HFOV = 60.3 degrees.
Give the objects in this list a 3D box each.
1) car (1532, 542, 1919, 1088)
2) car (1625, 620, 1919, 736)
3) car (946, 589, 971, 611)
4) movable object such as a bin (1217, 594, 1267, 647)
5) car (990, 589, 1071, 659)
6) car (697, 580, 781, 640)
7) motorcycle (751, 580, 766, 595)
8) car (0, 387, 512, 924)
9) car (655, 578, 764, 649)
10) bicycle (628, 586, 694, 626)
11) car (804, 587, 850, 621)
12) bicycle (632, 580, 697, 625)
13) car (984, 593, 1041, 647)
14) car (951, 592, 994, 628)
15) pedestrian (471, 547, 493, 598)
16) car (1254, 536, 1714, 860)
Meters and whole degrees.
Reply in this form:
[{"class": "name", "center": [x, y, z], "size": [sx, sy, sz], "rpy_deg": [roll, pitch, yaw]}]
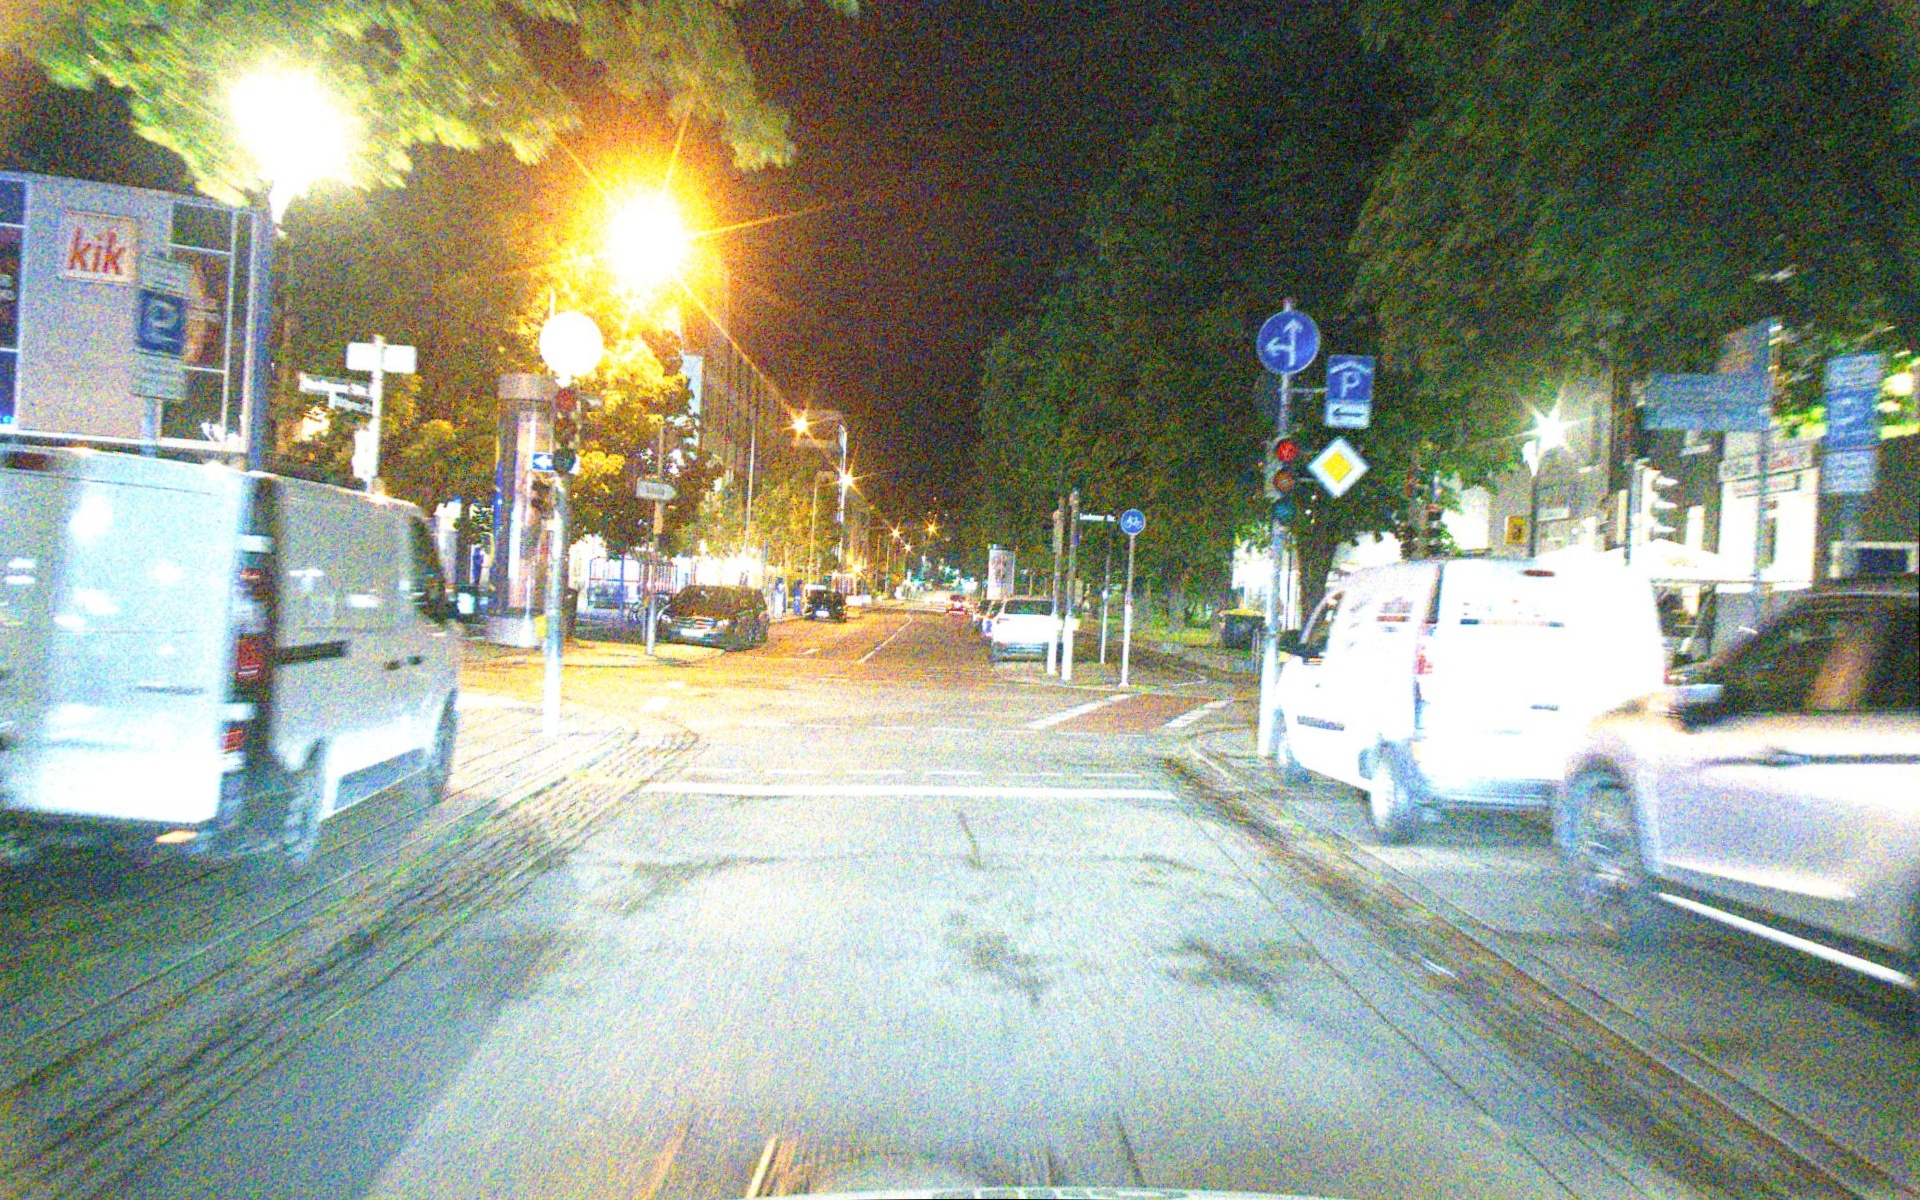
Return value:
[{"class": "car", "center": [3.778, 0.688, 6.095], "size": [1.650, 1.688, 4.295], "rpy_deg": [2, 0, -2]}, {"class": "car", "center": [12.719, 1.188, 25.439], "size": [4.228, 1.558, 1.802], "rpy_deg": [3, -1, -2]}, {"class": "car", "center": [-0.137, -0.017, 135.385], "size": [1.953, 1.672, 3.999], "rpy_deg": [2, 0, -1]}, {"class": "movable object such as a bin", "center": [7.979, 0.575, 46.809], "size": [1.137, 1.394, 0.993], "rpy_deg": [3, 0, -2]}, {"class": "car", "center": [1.643, 0.534, 39.589], "size": [1.734, 1.563, 4.216], "rpy_deg": [1, 0, 0]}, {"class": "car", "center": [-6.102, 0.259, 46.059], "size": [1.687, 1.453, 3.976], "rpy_deg": [5, 0, 0]}, {"class": "motorcycle", "center": [-13.903, -0.853, 114.070], "size": [0.468, 1.038, 1.676], "rpy_deg": [3, 0, 10]}, {"class": "car", "center": [-3.975, 0.184, 9.312], "size": [1.817, 2.123, 5.084], "rpy_deg": [5, 0, -6]}, {"class": "car", "center": [-5.962, 0.290, 39.907], "size": [1.770, 1.449, 4.921], "rpy_deg": [5, 0, 0]}, {"class": "bicycle", "center": [-8.963, 0.170, 49.599], "size": [1.813, 1.053, 0.532], "rpy_deg": [5, 0, -1]}, {"class": "car", "center": [-6.212, 0.152, 77.662], "size": [1.706, 1.438, 4.495], "rpy_deg": [4, 0, 0]}, {"class": "bicycle", "center": [-8.970, 0.072, 50.195], "size": [1.813, 1.275, 0.532], "rpy_deg": [3, 0, -1]}, {"class": "car", "center": [1.649, 0.615, 53.344], "size": [1.655, 1.563, 4.015], "rpy_deg": [3, 0, 0]}, {"class": "car", "center": [0.542, 0.402, 72.123], "size": [1.728, 1.439, 4.808], "rpy_deg": [2, 0, 0]}, {"class": "pedestrian", "center": [-15.738, -0.909, 54.495], "size": [0.468, 1.665, 0.632], "rpy_deg": [3, 0, 0]}, {"class": "car", "center": [3.517, 0.567, 12.095], "size": [1.753, 1.854, 4.578], "rpy_deg": [2, 0, -1]}]
